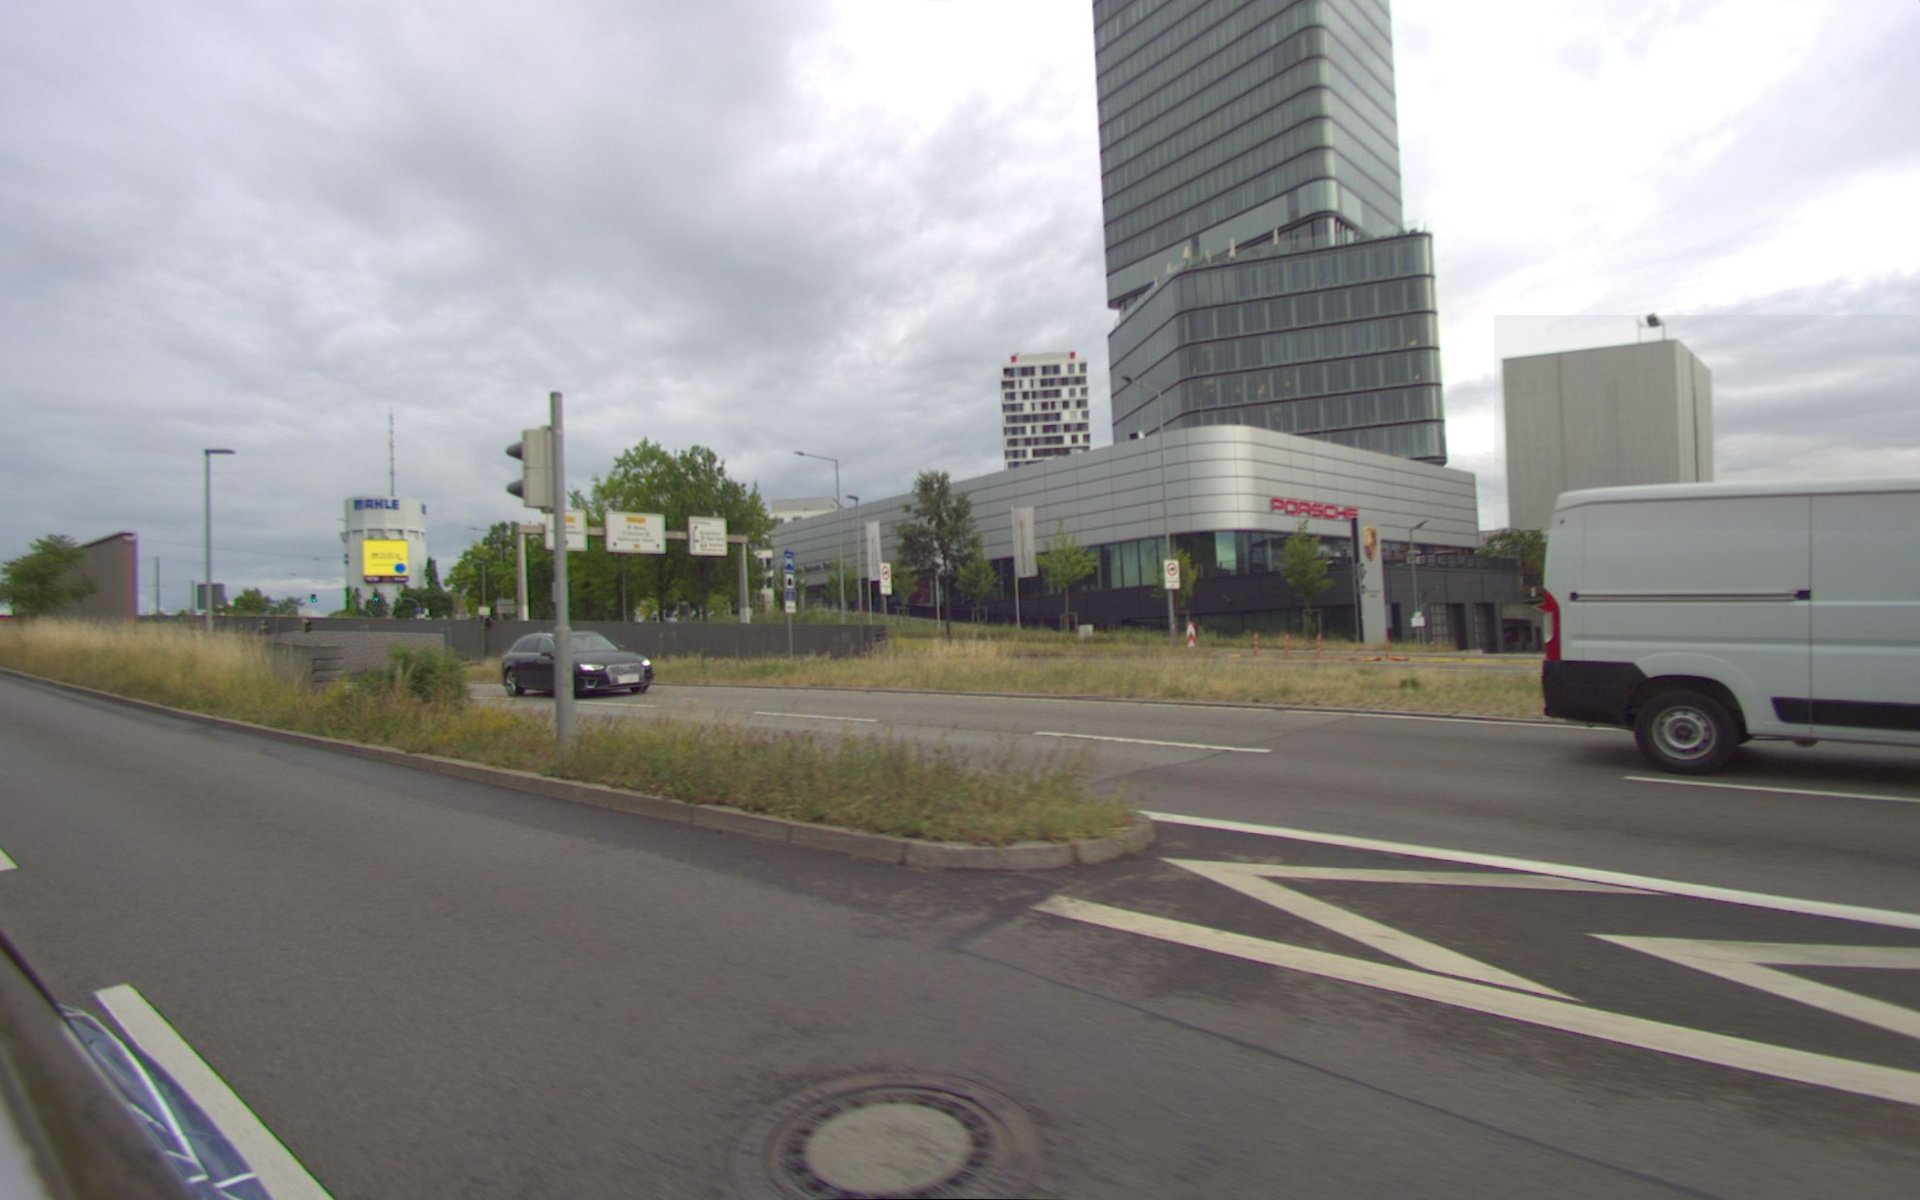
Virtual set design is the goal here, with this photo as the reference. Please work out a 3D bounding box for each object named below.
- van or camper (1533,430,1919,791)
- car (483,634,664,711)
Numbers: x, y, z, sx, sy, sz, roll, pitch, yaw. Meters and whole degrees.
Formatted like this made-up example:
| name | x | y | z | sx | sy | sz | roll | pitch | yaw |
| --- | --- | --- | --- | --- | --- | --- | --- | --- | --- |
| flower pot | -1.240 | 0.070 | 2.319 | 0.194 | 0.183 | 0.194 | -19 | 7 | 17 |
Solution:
| name | x | y | z | sx | sy | sz | roll | pitch | yaw |
| --- | --- | --- | --- | --- | --- | --- | --- | --- | --- |
| van or camper | 7.580 | 0.066 | 7.362 | 5.533 | 2.457 | 2.178 | -2 | -2 | 45 |
| car | -8.706 | 1.542 | 22.619 | 4.629 | 1.430 | 1.791 | -2 | 1 | 41 |
